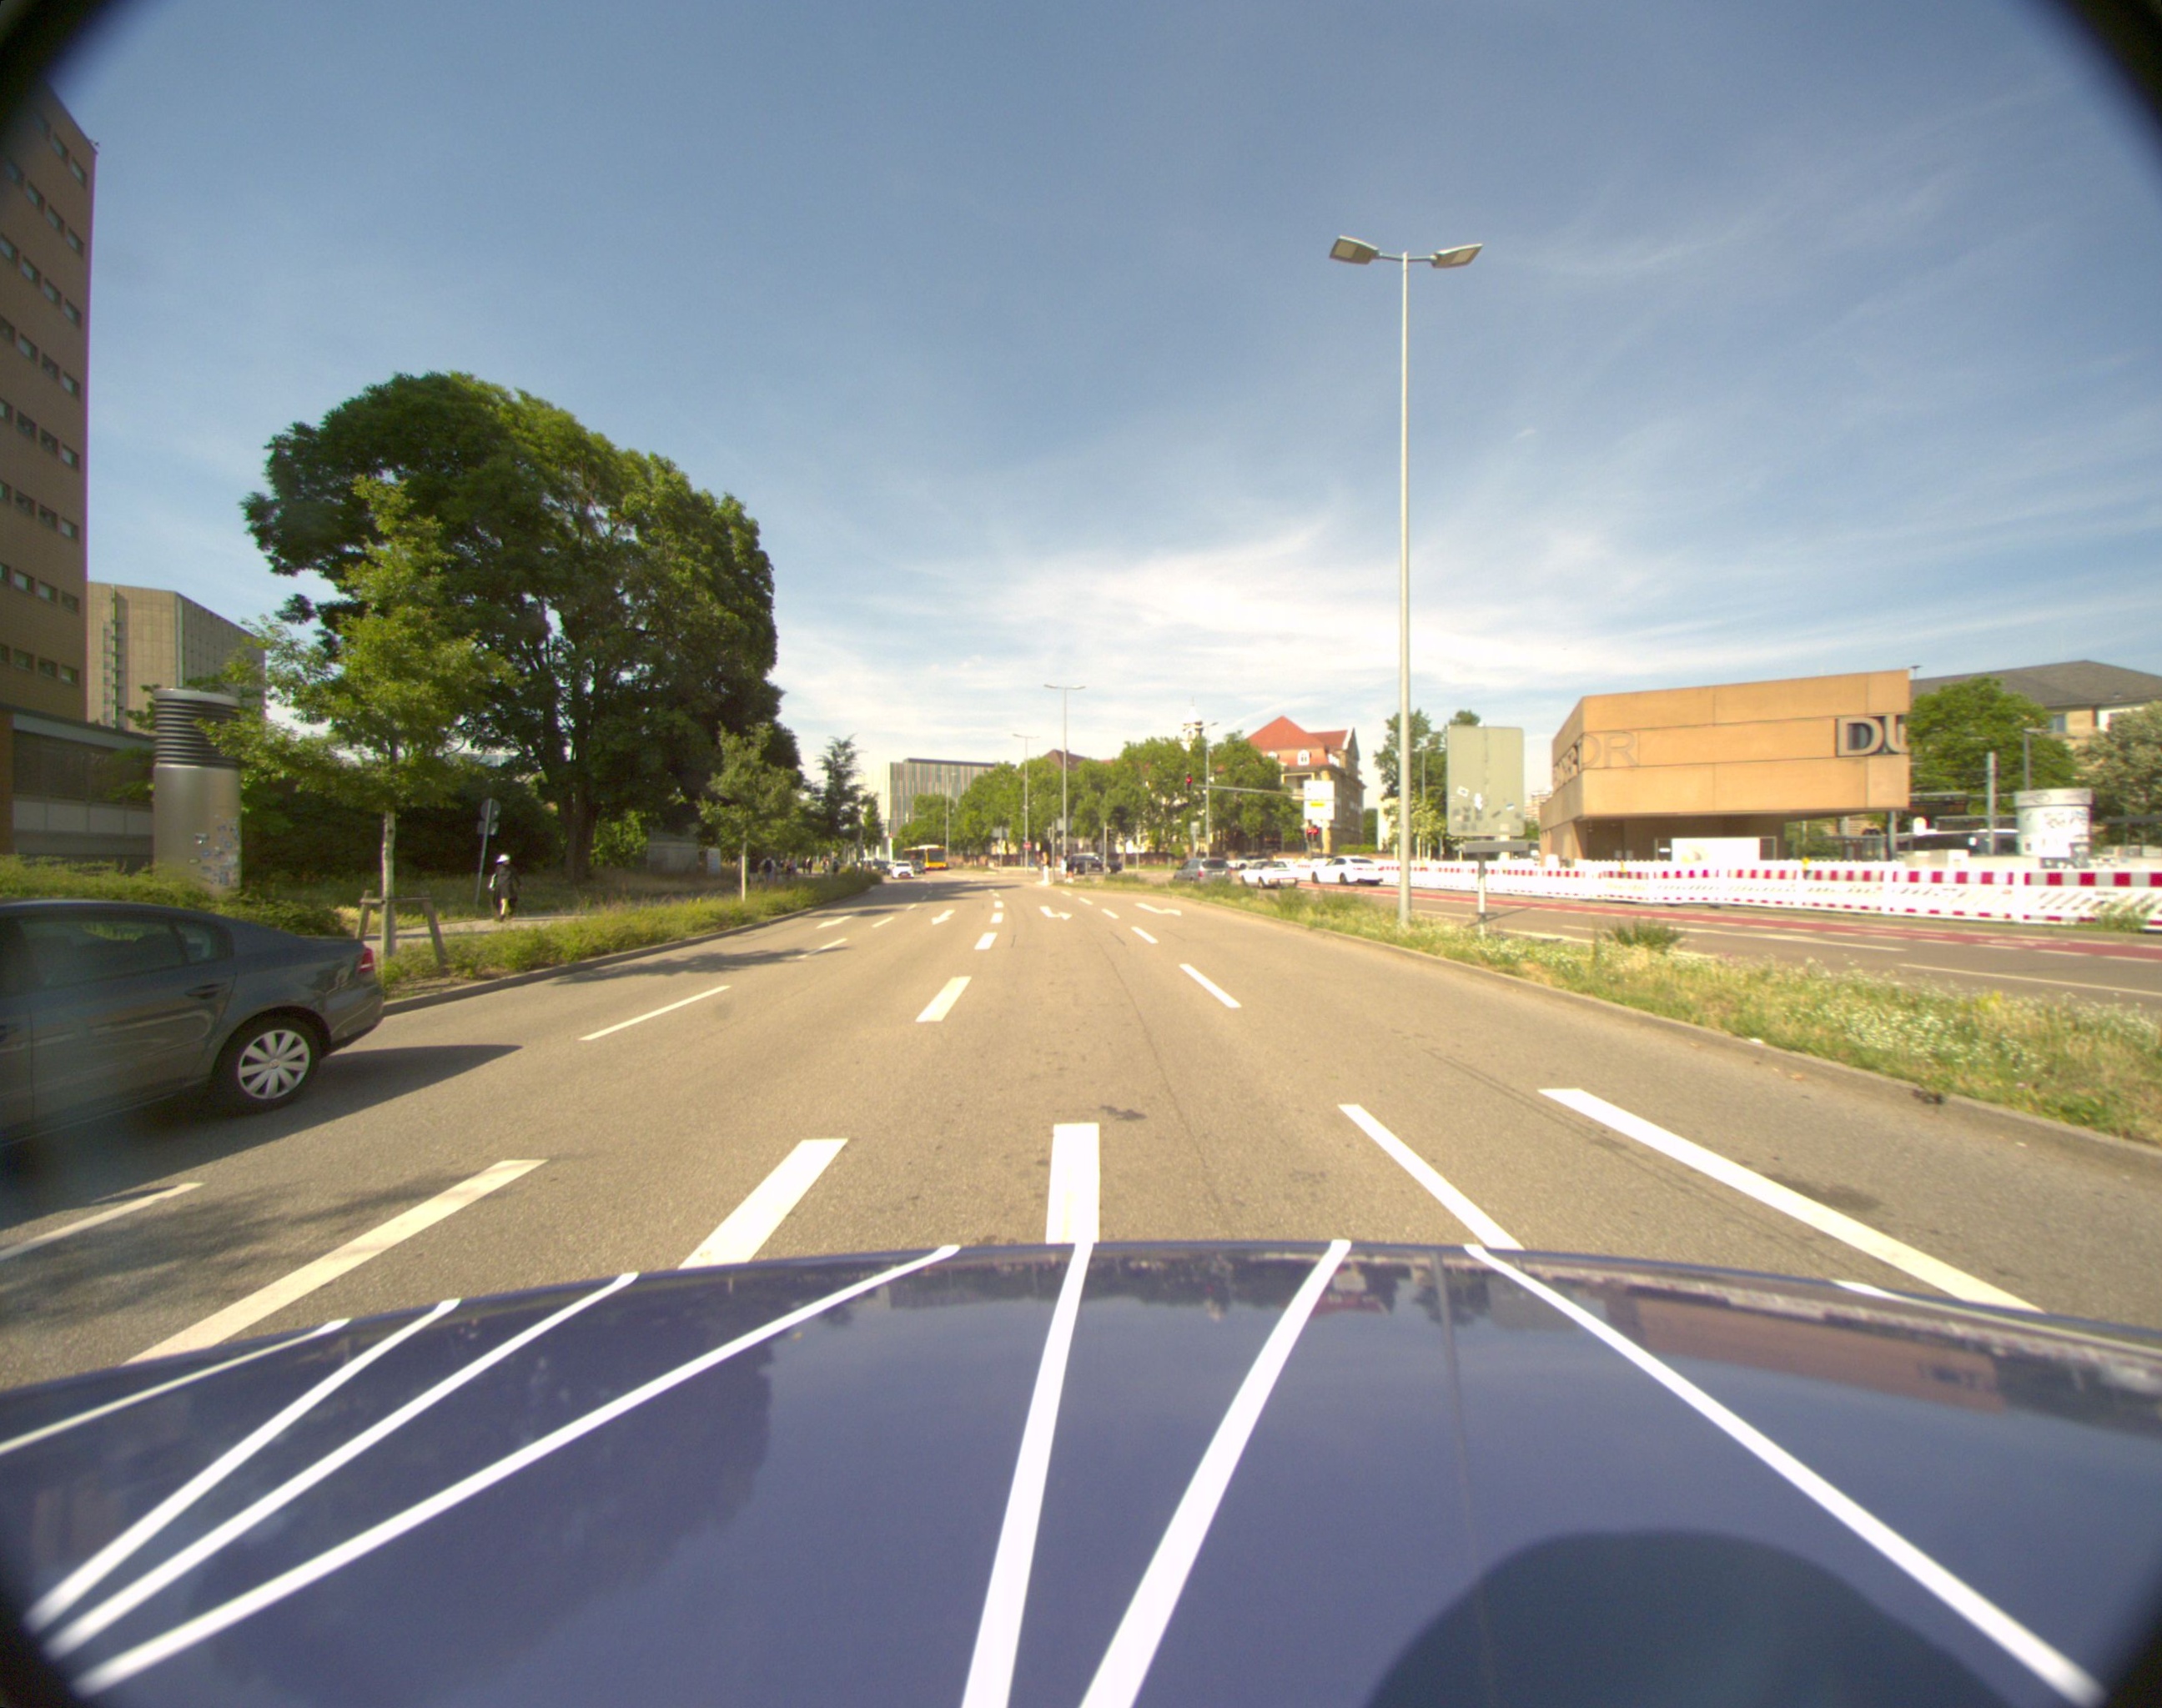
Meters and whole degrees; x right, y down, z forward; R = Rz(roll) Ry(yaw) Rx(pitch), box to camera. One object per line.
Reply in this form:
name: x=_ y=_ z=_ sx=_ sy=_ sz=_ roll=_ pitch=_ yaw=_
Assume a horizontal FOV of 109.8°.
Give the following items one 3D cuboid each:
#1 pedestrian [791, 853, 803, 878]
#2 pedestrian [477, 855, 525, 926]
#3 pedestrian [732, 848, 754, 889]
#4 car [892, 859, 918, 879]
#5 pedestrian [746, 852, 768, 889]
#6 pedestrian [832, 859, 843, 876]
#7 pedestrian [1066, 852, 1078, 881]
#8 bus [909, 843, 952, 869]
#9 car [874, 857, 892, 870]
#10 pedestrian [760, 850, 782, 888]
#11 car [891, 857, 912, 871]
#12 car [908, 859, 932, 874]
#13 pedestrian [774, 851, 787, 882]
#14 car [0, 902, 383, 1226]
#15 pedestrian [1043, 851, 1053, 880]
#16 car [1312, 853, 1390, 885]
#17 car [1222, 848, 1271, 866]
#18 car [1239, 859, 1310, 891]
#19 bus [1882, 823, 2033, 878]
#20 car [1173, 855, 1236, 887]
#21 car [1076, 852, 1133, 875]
pedestrian: x=-16.382 y=0.669 z=43.786 sx=0.644 sy=1.438 sz=0.568 roll=1 pitch=1 yaw=-20
pedestrian: x=-13.901 y=0.859 z=18.231 sx=0.592 sy=1.654 sz=0.731 roll=1 pitch=1 yaw=1
pedestrian: x=-15.289 y=0.655 z=34.371 sx=0.643 sy=1.827 sz=0.731 roll=1 pitch=1 yaw=1
car: x=-14.754 y=1.231 z=63.543 sx=1.684 sy=1.466 sz=3.754 roll=-3 pitch=1 yaw=-19
pedestrian: x=-14.639 y=0.733 z=34.363 sx=0.643 sy=1.617 sz=0.731 roll=1 pitch=1 yaw=1
pedestrian: x=-16.351 y=0.886 z=51.020 sx=0.644 sy=1.125 sz=0.751 roll=1 pitch=1 yaw=-15
pedestrian: x=-0.529 y=0.748 z=44.208 sx=0.643 sy=1.664 sz=0.752 roll=0 pitch=0 yaw=0
bus: x=-19.350 y=0.256 z=96.916 sx=2.800 sy=3.020 sz=12.124 roll=0 pitch=0 yaw=-24
car: x=-20.246 y=1.002 z=77.804 sx=1.411 sy=1.287 sz=3.574 roll=0 pitch=0 yaw=-21
pedestrian: x=-14.141 y=0.676 z=34.662 sx=0.643 sy=1.664 sz=0.752 roll=1 pitch=1 yaw=1
car: x=-20.491 y=1.130 z=86.535 sx=1.653 sy=1.416 sz=4.112 roll=-3 pitch=1 yaw=-22
car: x=-16.666 y=1.293 z=78.481 sx=1.653 sy=1.416 sz=4.112 roll=-3 pitch=1 yaw=-22
pedestrian: x=-17.191 y=0.692 z=43.461 sx=0.644 sy=1.754 sz=0.474 roll=1 pitch=1 yaw=-20
car: x=-6.072 y=1.115 z=3.434 sx=1.635 sy=1.427 sz=4.528 roll=-1 pitch=1 yaw=-1
pedestrian: x=-1.882 y=0.654 z=43.750 sx=0.541 sy=1.664 sz=0.752 roll=0 pitch=0 yaw=1
car: x=13.107 y=0.700 z=37.110 sx=1.804 sy=1.412 sz=3.996 roll=-2 pitch=1 yaw=-10
car: x=15.012 y=0.291 z=68.917 sx=4.117 sy=1.435 sz=1.756 roll=-3 pitch=1 yaw=-24
car: x=8.787 y=0.899 z=34.858 sx=1.600 sy=1.279 sz=3.996 roll=-2 pitch=1 yaw=-10
bus: x=59.541 y=-0.215 z=52.123 sx=2.751 sy=3.303 sz=11.811 roll=0 pitch=0 yaw=28
car: x=5.650 y=0.750 z=35.227 sx=1.600 sy=1.279 sz=3.996 roll=-2 pitch=1 yaw=-10
car: x=1.859 y=0.765 z=60.726 sx=4.103 sy=1.719 sz=1.762 roll=-2 pitch=1 yaw=22
